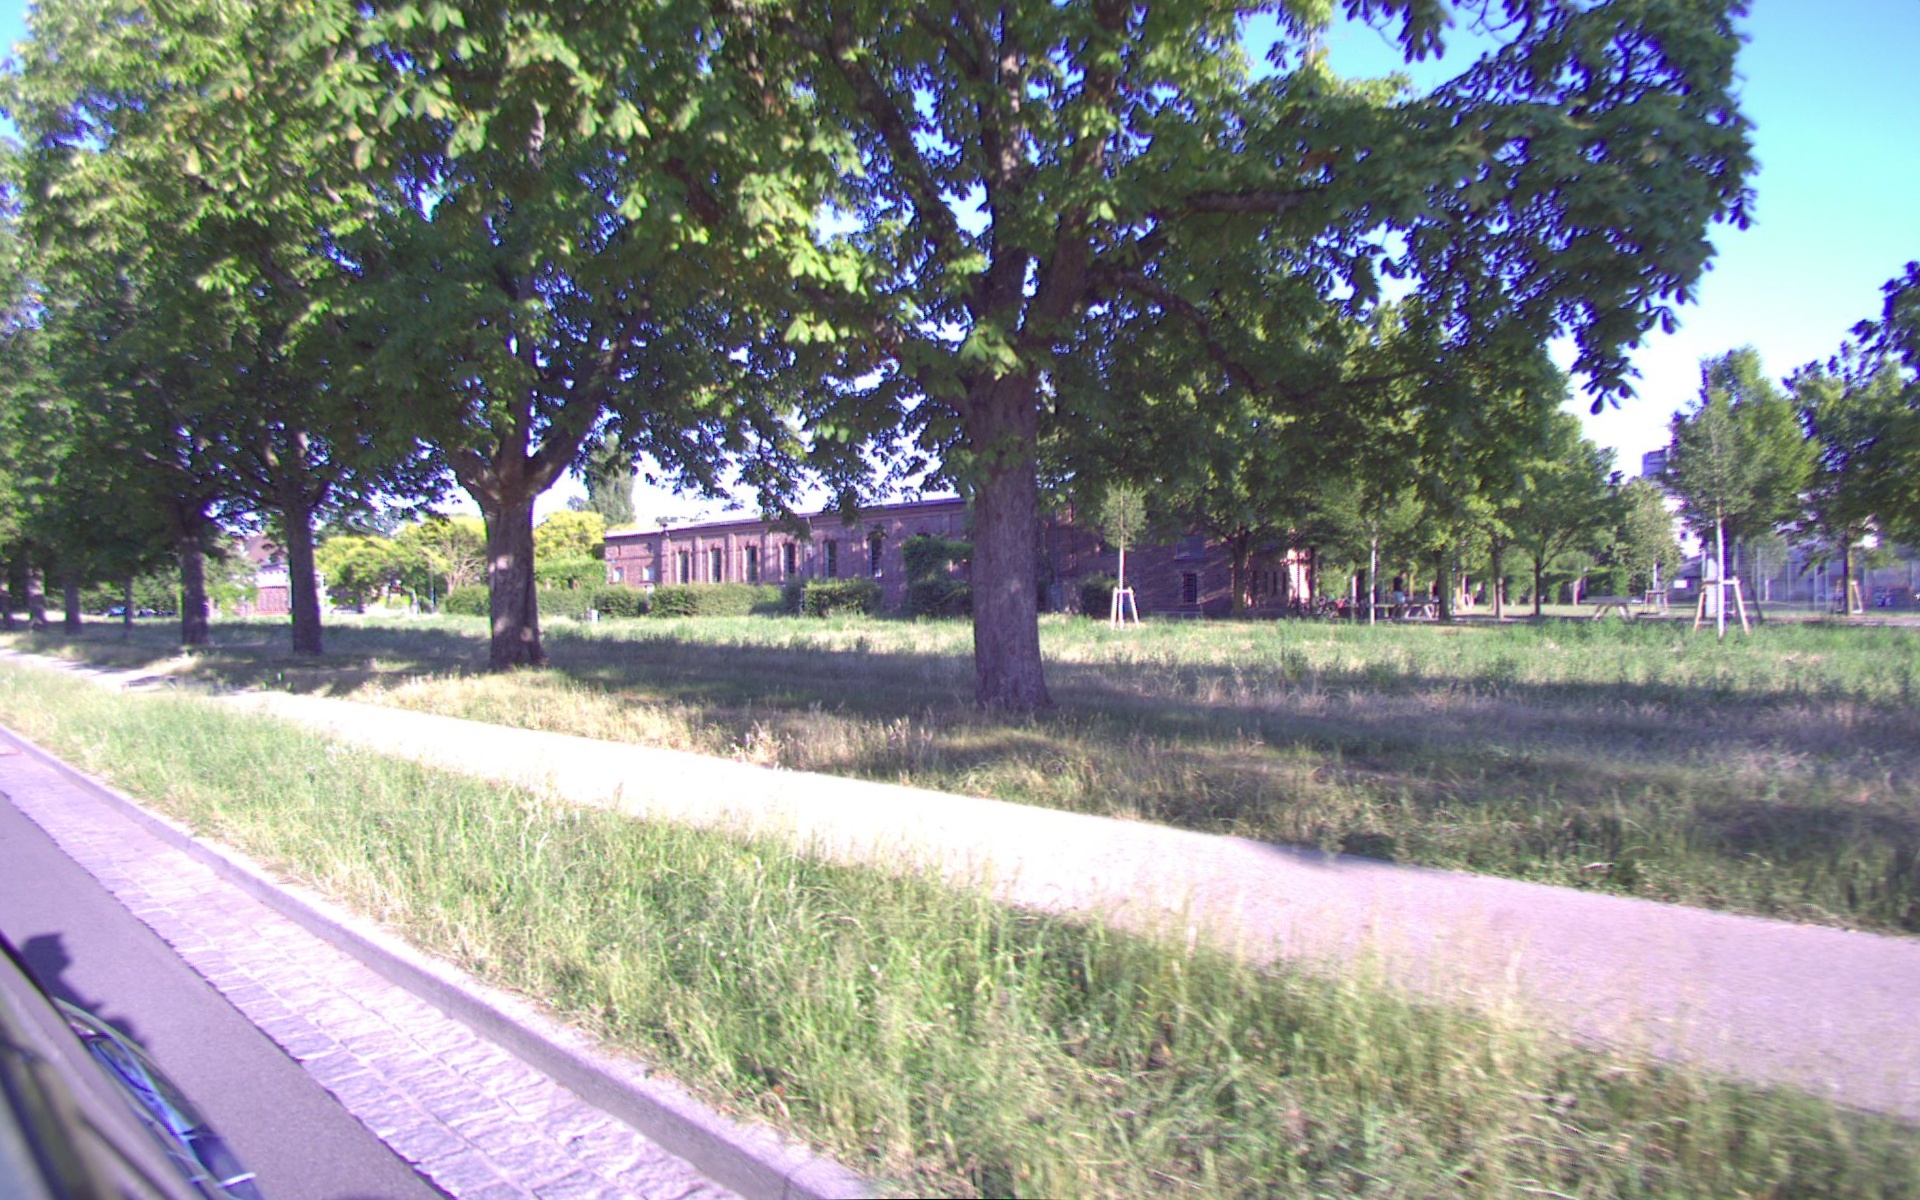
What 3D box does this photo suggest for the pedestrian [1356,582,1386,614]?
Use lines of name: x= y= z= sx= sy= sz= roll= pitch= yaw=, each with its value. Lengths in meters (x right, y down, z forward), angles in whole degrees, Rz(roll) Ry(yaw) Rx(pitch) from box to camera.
pedestrian: x=16.911 y=-0.089 z=41.632 sx=0.980 sy=1.304 sz=1.104 roll=-1 pitch=0 yaw=32

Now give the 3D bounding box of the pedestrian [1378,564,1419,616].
pedestrian: x=16.057 y=-0.356 z=37.048 sx=1.099 sy=1.877 sz=0.984 roll=-2 pitch=0 yaw=-43

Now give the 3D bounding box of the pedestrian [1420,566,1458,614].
pedestrian: x=18.861 y=-0.394 z=39.858 sx=1.099 sy=1.877 sz=0.984 roll=-2 pitch=0 yaw=-43
